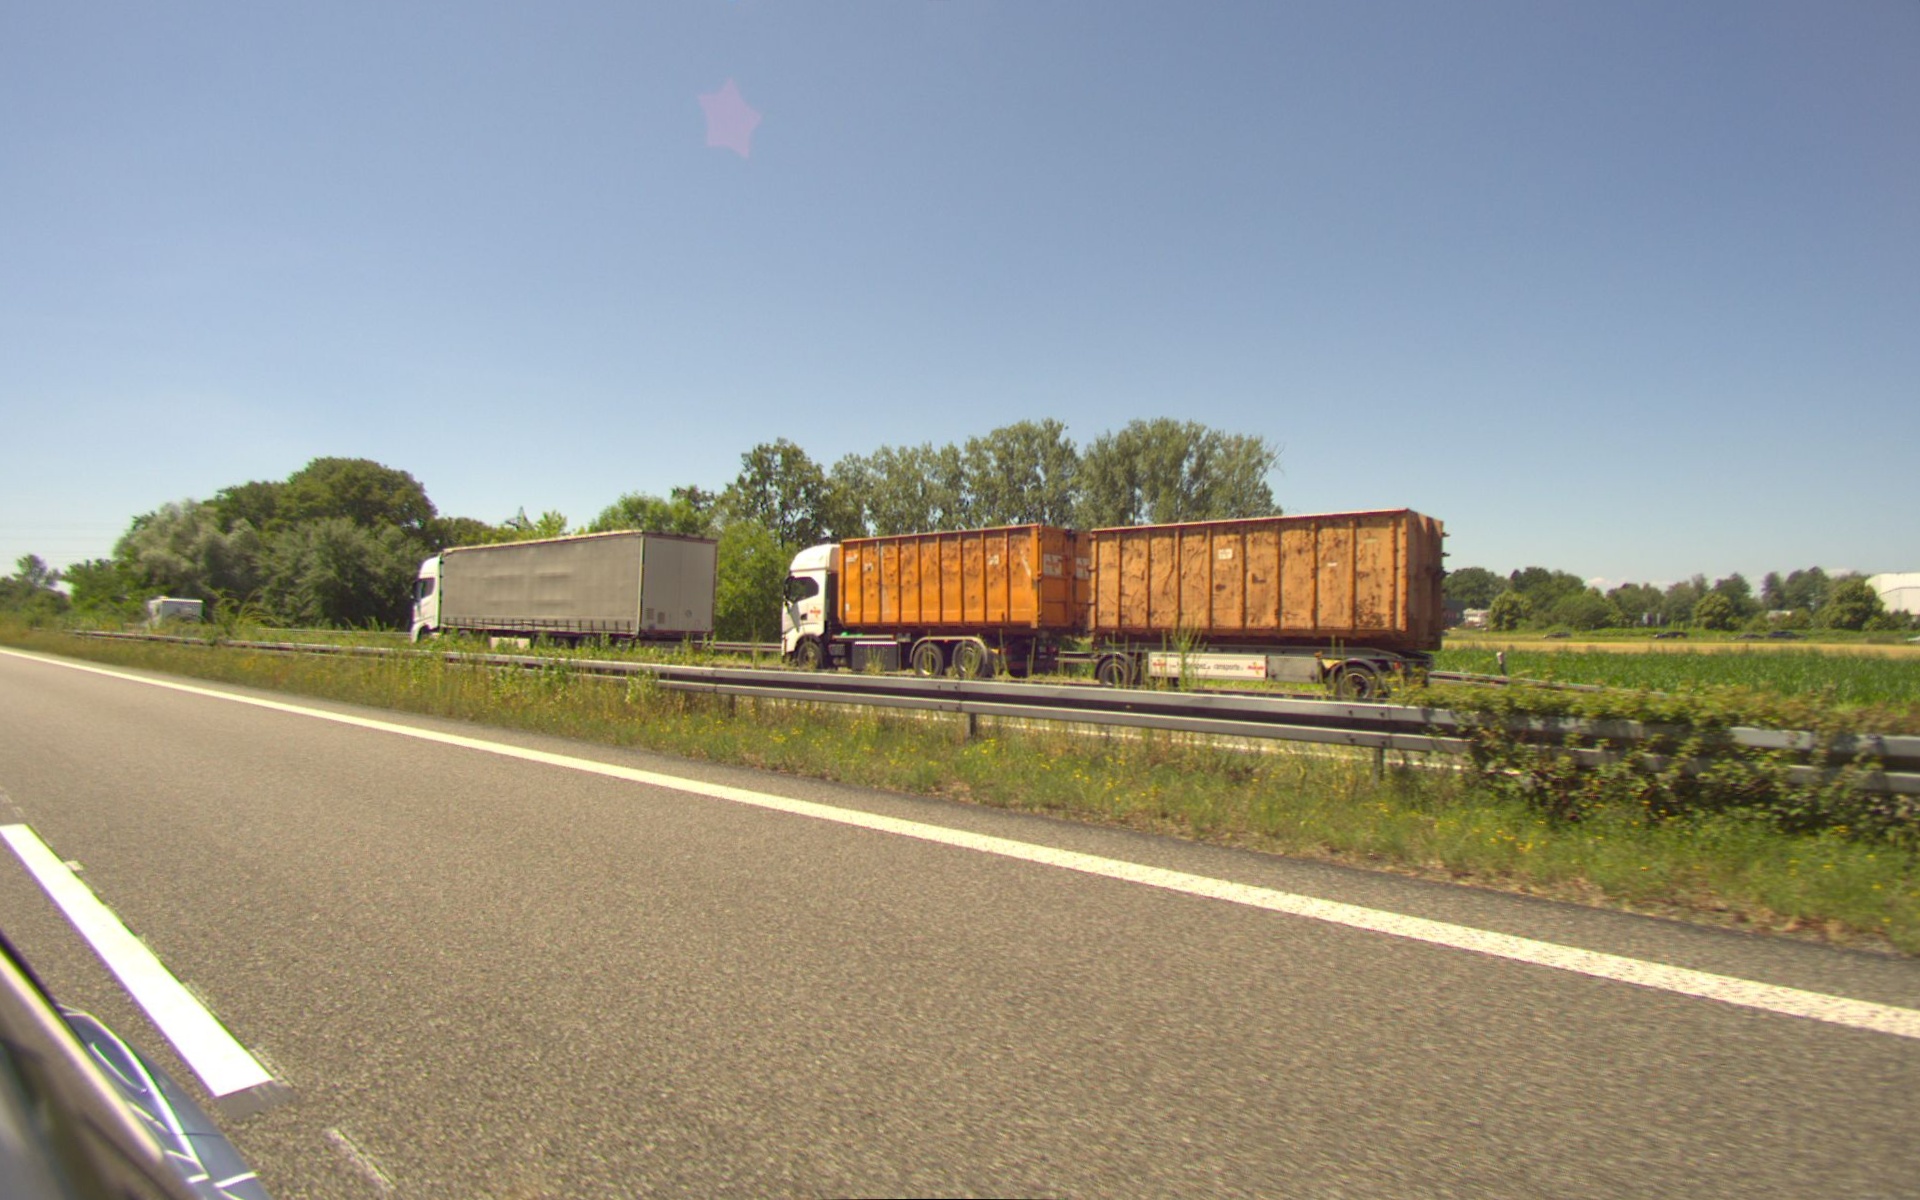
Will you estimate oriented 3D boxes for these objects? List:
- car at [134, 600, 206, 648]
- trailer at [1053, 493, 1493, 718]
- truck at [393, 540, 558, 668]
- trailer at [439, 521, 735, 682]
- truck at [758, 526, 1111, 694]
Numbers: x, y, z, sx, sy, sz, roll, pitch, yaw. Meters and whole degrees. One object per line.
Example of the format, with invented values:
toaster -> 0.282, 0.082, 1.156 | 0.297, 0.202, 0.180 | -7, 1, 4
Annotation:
car -> -52.634, 1.549, 67.330 | 8.084, 3.004, 2.519 | -1, 0, 43
trailer -> 6.297, 0.220, 21.599 | 8.657, 3.950, 2.631 | -1, -4, 41
truck -> -18.560, 0.213, 38.613 | 6.977, 4.460, 3.128 | -1, -2, 41
trailer -> -12.831, 0.147, 33.551 | 13.320, 4.456, 3.162 | -1, -2, 41
truck -> -1.131, 0.380, 28.145 | 10.822, 3.914, 2.621 | -1, -4, 41
